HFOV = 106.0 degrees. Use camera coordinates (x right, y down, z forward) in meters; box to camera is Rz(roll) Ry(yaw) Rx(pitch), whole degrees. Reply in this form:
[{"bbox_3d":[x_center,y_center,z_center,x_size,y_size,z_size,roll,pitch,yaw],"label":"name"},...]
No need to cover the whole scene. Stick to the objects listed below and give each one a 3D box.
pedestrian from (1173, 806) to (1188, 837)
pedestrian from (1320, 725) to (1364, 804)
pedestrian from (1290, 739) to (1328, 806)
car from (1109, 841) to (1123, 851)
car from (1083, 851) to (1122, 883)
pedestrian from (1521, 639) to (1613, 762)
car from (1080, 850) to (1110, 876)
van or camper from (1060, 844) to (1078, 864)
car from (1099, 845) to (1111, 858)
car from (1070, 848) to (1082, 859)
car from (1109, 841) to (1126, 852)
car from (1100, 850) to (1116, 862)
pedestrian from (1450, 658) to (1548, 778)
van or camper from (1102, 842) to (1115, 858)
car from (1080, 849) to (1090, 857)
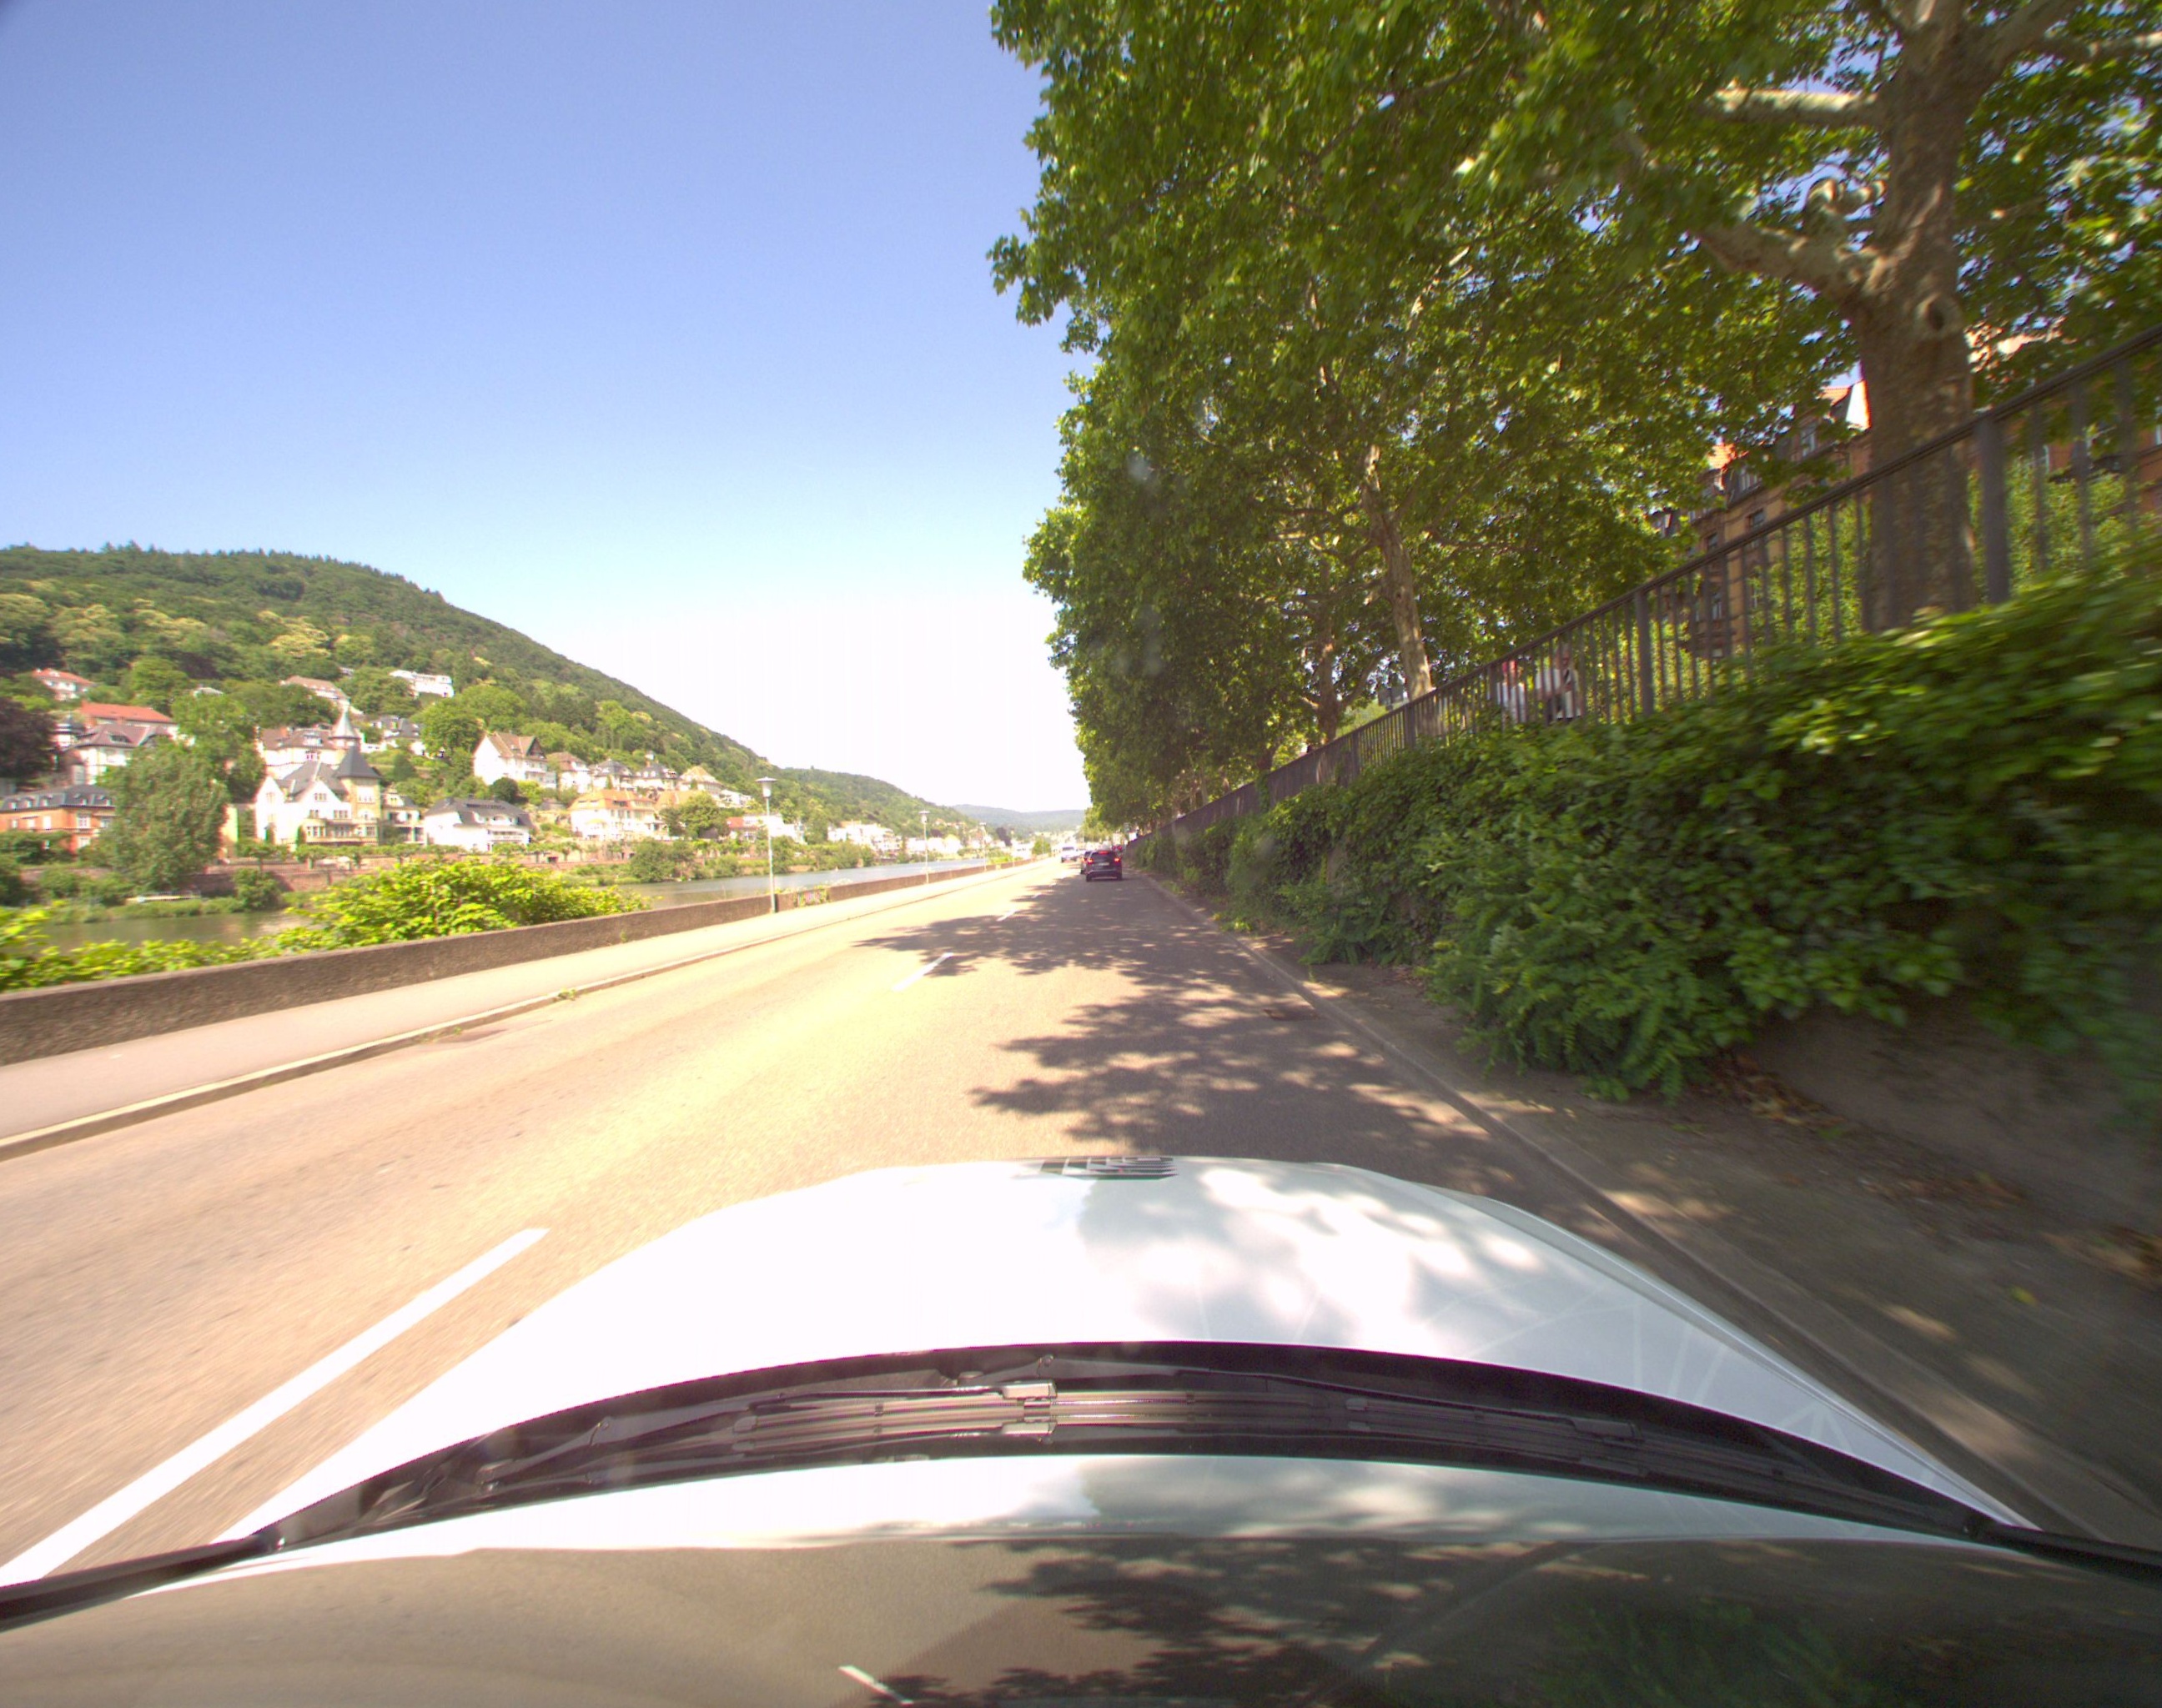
[{"bbox_3d":[5.292,-1.725,43.242,0.662,1.591,0.651,-3,0,1],"label":"pedestrian"},{"bbox_3d":[5.759,-1.969,17.988,0.646,1.640,0.625,-3,0,-7],"label":"pedestrian"},{"bbox_3d":[5.076,-1.807,18.160,0.584,1.419,0.588,-3,0,-7],"label":"pedestrian"},{"bbox_3d":[7.716,-1.731,179.534,2.653,2.013,5.825,-6,0,1],"label":"car"},{"bbox_3d":[1.065,0.619,41.001,1.822,1.486,4.001,-2,0,1],"label":"car"},{"bbox_3d":[5.478,-1.712,9.217,0.574,1.243,0.692,-3,0,1],"label":"pedestrian"},{"bbox_3d":[0.913,0.566,52.983,1.822,1.511,4.001,-2,0,1],"label":"car"},{"bbox_3d":[-1.573,-0.024,107.766,2.070,2.398,5.386,-3,0,1],"label":"van or camper"},{"bbox_3d":[4.205,-0.451,143.224,1.987,2.169,4.000,-3,0,0],"label":"car"},{"bbox_3d":[-0.758,-0.039,134.392,1.725,1.650,4.178,-4,0,1],"label":"car"},{"bbox_3d":[7.480,-1.548,168.582,3.088,2.013,5.825,-6,0,1],"label":"car"},{"bbox_3d":[3.445,0.244,104.032,1.822,1.444,4.000,-3,0,1],"label":"car"},{"bbox_3d":[4.837,-1.552,9.467,0.708,1.243,0.742,-3,0,1],"label":"pedestrian"},{"bbox_3d":[5.277,-0.806,156.134,2.300,2.847,4.249,-3,0,3],"label":"van or camper"},{"bbox_3d":[0.829,-0.172,155.107,1.725,1.441,4.046,-4,0,1],"label":"car"}]
